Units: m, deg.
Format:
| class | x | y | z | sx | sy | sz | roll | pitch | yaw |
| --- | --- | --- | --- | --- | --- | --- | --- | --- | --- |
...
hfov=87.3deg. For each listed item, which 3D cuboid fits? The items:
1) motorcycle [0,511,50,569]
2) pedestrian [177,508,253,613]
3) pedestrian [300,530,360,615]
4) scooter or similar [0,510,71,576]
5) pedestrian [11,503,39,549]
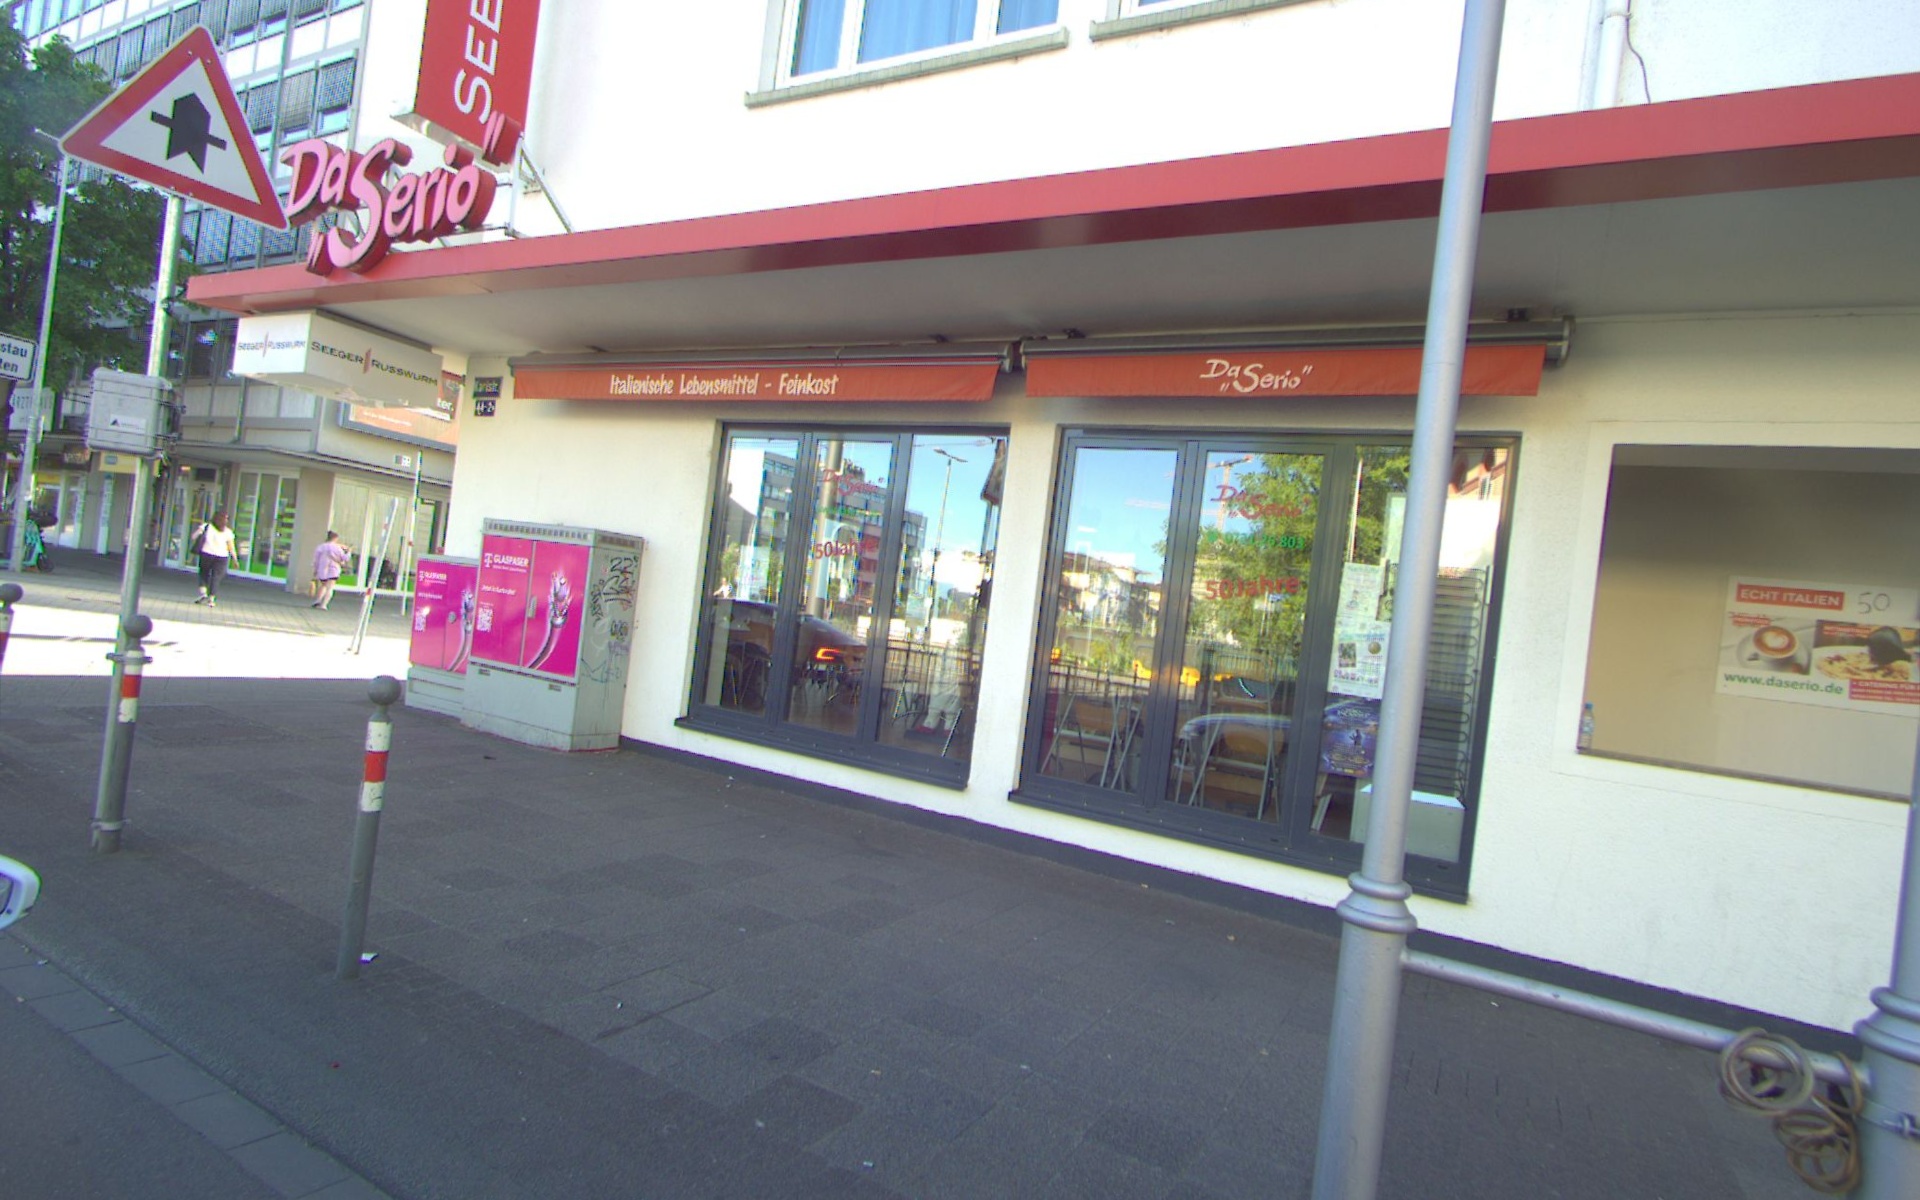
| class | x | y | z | sx | sy | sz | roll | pitch | yaw |
| --- | --- | --- | --- | --- | --- | --- | --- | --- | --- |
| motorcycle | -21.530 | -1.406 | 22.378 | 0.532 | 1.186 | 1.711 | 7 | -2 | 30 |
| pedestrian | -13.678 | -0.709 | 18.516 | 0.909 | 1.772 | 1.029 | 8 | -2 | -35 |
| pedestrian | -13.520 | -0.591 | 21.589 | 0.884 | 1.687 | 0.801 | 8 | -1 | -35 |
| scooter or similar | -19.945 | -1.233 | 21.174 | 1.628 | 1.229 | 0.640 | 8 | -1 | -29 |
| pedestrian | -28.763 | -2.272 | 30.947 | 0.504 | 1.359 | 0.390 | 6 | -1 | 34 |
